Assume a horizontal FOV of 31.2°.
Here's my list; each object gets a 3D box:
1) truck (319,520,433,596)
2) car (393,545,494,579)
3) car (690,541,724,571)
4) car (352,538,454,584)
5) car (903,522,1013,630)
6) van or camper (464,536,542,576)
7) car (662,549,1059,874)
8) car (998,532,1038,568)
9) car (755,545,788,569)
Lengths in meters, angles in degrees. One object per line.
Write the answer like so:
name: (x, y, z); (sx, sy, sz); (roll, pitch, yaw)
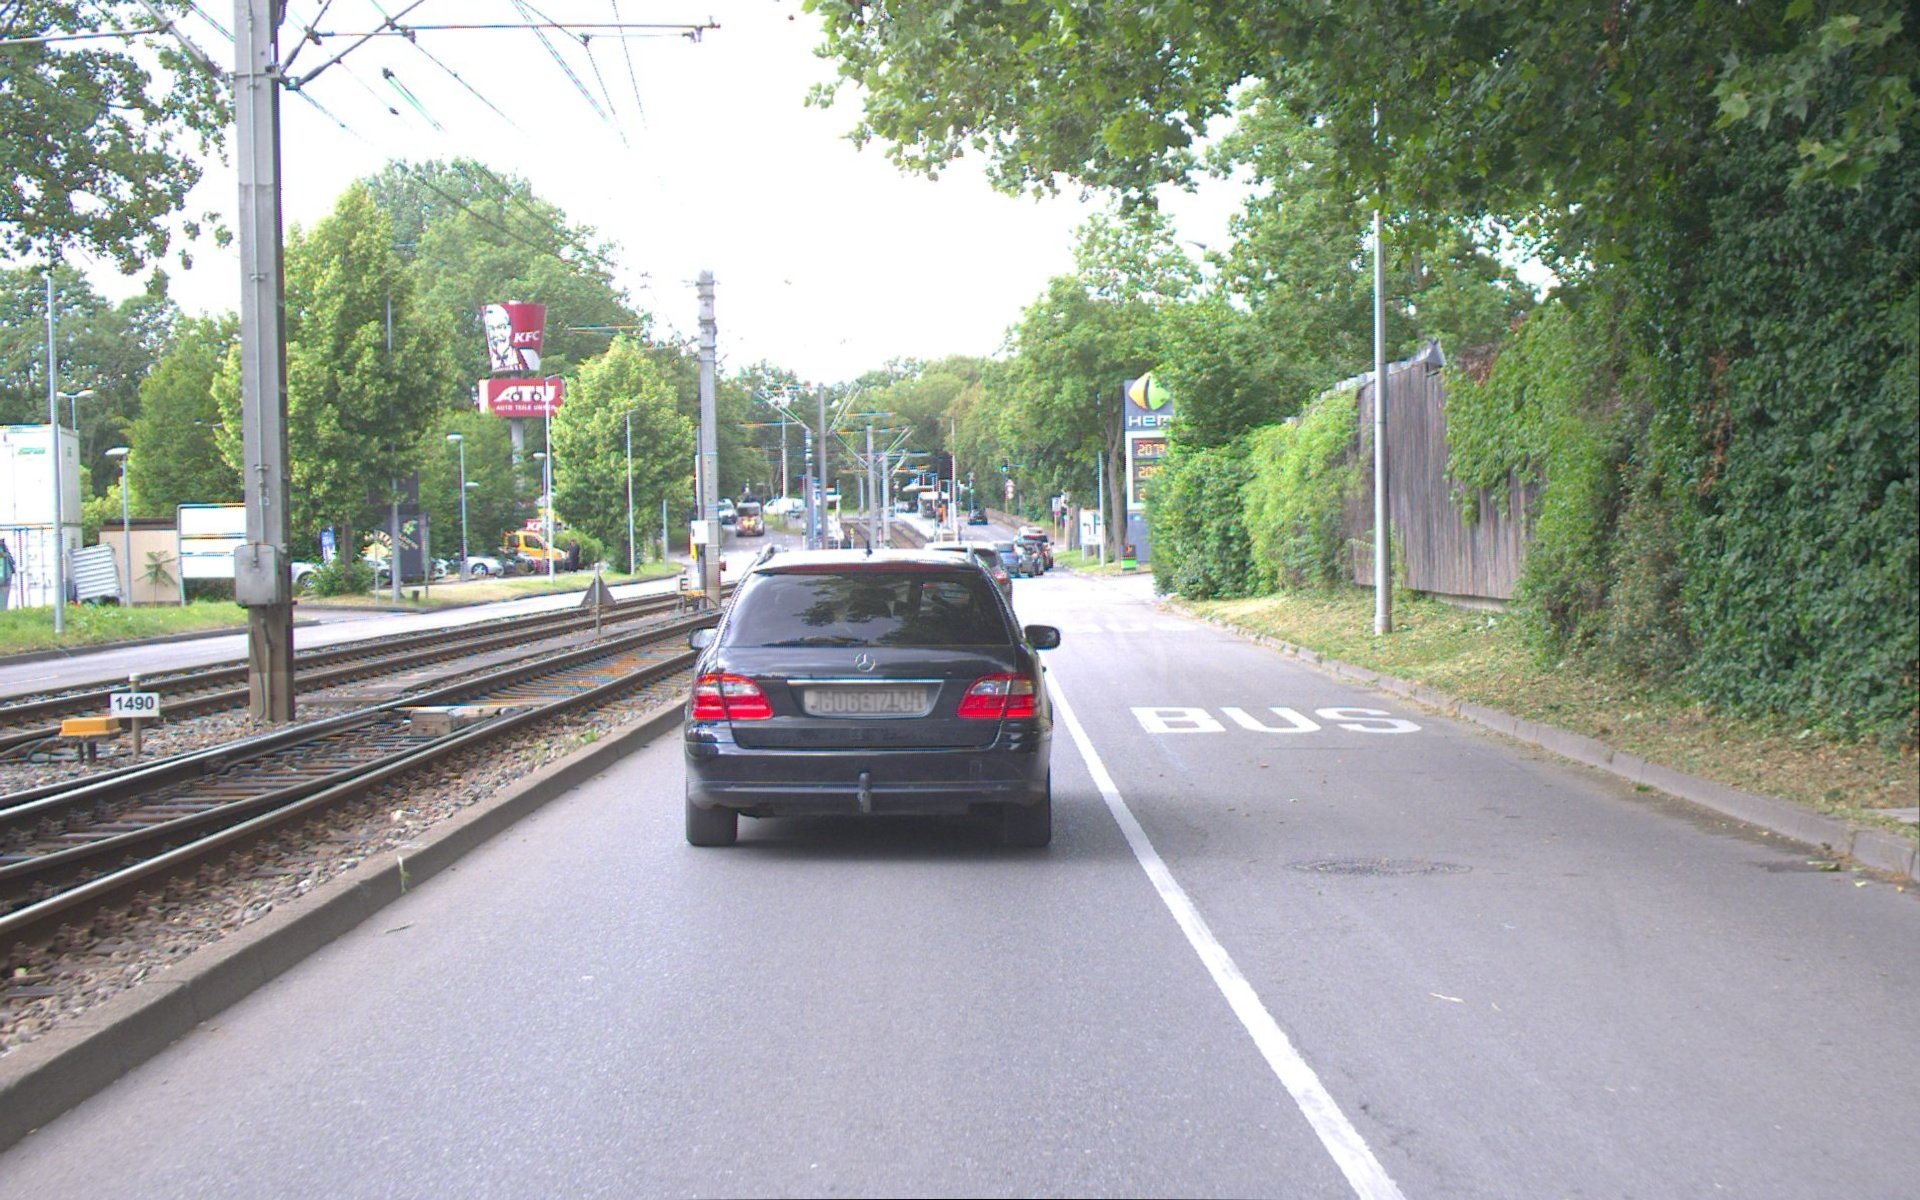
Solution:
truck: (-22.633, -1.647, 133.303); (3.986, 2.812, 2.376); (-2, 1, -2)
car: (-23.431, -1.744, 156.064); (4.306, 1.467, 1.680); (-1, 1, -1)
car: (-15.353, -2.660, 208.801); (1.792, 1.766, 4.000); (-1, 1, -1)
car: (-23.120, -1.646, 142.795); (3.986, 1.791, 1.878); (-2, 1, -4)
car: (-0.023, -0.411, 58.226); (1.780, 1.744, 3.718); (1, 0, 0)
van or camper: (-24.212, -2.347, 182.246); (3.986, 2.127, 1.878); (0, 1, -4)
car: (-0.438, 0.478, 17.631); (1.808, 1.469, 3.881); (0, 1, 1)
car: (2.339, -2.011, 139.299); (1.571, 1.410, 3.354); (1, 0, 0)
car: (-11.562, -2.649, 211.060); (1.759, 1.396, 4.444); (-4, 1, 0)
